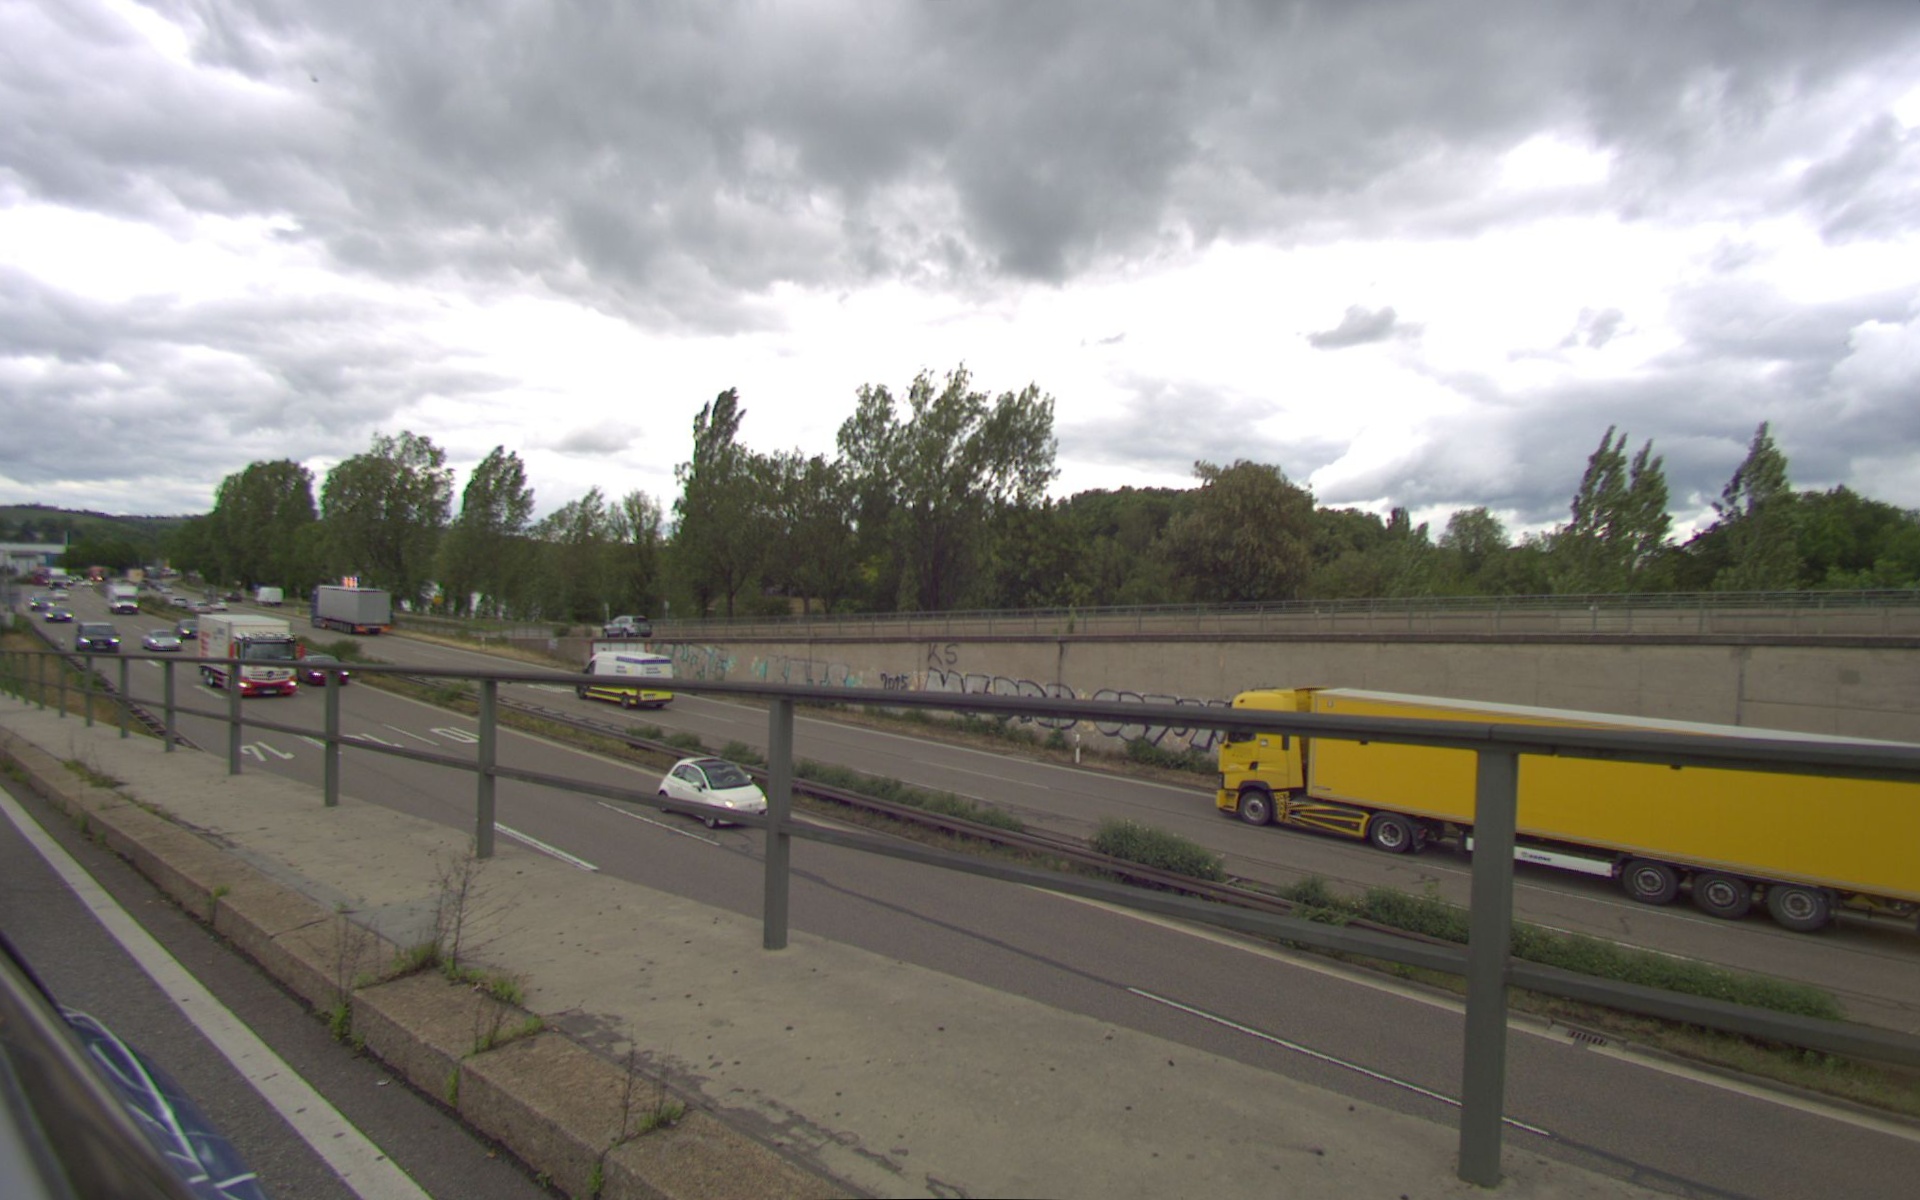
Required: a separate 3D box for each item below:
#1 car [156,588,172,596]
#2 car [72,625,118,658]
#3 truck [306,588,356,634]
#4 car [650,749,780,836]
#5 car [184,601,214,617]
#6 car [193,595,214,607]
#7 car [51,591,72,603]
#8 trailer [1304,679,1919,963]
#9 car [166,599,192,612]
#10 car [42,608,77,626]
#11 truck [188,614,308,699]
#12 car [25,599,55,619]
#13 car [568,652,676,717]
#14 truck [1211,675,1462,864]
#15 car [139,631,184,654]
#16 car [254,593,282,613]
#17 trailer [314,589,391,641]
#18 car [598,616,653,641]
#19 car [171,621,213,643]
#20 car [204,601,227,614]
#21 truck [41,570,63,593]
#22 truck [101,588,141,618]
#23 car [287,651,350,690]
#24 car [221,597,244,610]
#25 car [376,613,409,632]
[{"bbox_3d":[-154.989,-1.488,197.087,4.002,1.431,1.971,2,1,44],"label":"car"},{"bbox_3d":[-55.628,2.644,65.090,1.970,1.853,4.429,2,0,-44],"label":"car"},{"bbox_3d":[-61.008,1.010,98.141,5.939,4.170,2.755,3,1,45],"label":"truck"},{"bbox_3d":[-6.625,5.091,27.187,3.608,1.544,1.674,2,1,43],"label":"car"},{"bbox_3d":[-83.730,0.983,111.382,4.002,1.431,1.971,2,-3,45],"label":"car"},{"bbox_3d":[-128.239,0.119,171.491,4.562,1.831,1.861,2,-3,42],"label":"car"},{"bbox_3d":[-125.011,-0.478,140.768,3.335,1.539,1.746,2,0,41],"label":"car"},{"bbox_3d":[15.550,4.670,24.142,13.678,4.294,3.206,2,0,42],"label":"trailer"},{"bbox_3d":[-97.104,0.696,125.849,4.002,1.431,1.971,2,-3,45],"label":"car"},{"bbox_3d":[-82.021,1.562,92.155,4.126,1.461,1.804,2,0,41],"label":"car"},{"bbox_3d":[-35.584,2.666,50.384,9.873,3.552,2.850,2,-1,43],"label":"truck"},{"bbox_3d":[-99.141,0.943,109.033,4.001,2.029,1.971,2,-1,43],"label":"car"},{"bbox_3d":[-16.877,4.114,50.319,6.713,2.648,1.972,2,-1,42],"label":"car"},{"bbox_3d":[10.568,4.501,28.636,5.803,4.213,3.206,2,0,42],"label":"truck"},{"bbox_3d":[-54.410,2.894,68.924,4.153,1.311,1.766,3,0,42],"label":"car"},{"bbox_3d":[-98.697,0.391,144.250,5.180,2.669,1.972,2,-3,42],"label":"car"},{"bbox_3d":[-56.248,1.261,93.386,13.772,4.170,2.755,3,1,45],"label":"trailer"},{"bbox_3d":[-23.626,2.020,71.411,4.378,1.664,1.872,-1,0,43],"label":"car"},{"bbox_3d":[-60.470,2.470,79.673,4.425,1.476,1.838,2,2,43],"label":"car"},{"bbox_3d":[-92.056,0.952,125.120,4.002,1.431,1.660,3,0,44],"label":"car"},{"bbox_3d":[-174.056,-3.613,193.993,2.968,4.140,5.880,3,0,-44],"label":"truck"},{"bbox_3d":[-90.786,0.320,109.415,7.229,3.031,2.210,2,1,41],"label":"truck"},{"bbox_3d":[-34.069,3.686,53.734,4.183,1.590,1.810,4,3,43],"label":"car"},{"bbox_3d":[-113.357,0.594,157.725,4.562,1.831,1.861,2,-3,42],"label":"car"},{"bbox_3d":[-64.087,2.552,114.250,1.970,1.914,4.587,6,-3,-44],"label":"car"}]
